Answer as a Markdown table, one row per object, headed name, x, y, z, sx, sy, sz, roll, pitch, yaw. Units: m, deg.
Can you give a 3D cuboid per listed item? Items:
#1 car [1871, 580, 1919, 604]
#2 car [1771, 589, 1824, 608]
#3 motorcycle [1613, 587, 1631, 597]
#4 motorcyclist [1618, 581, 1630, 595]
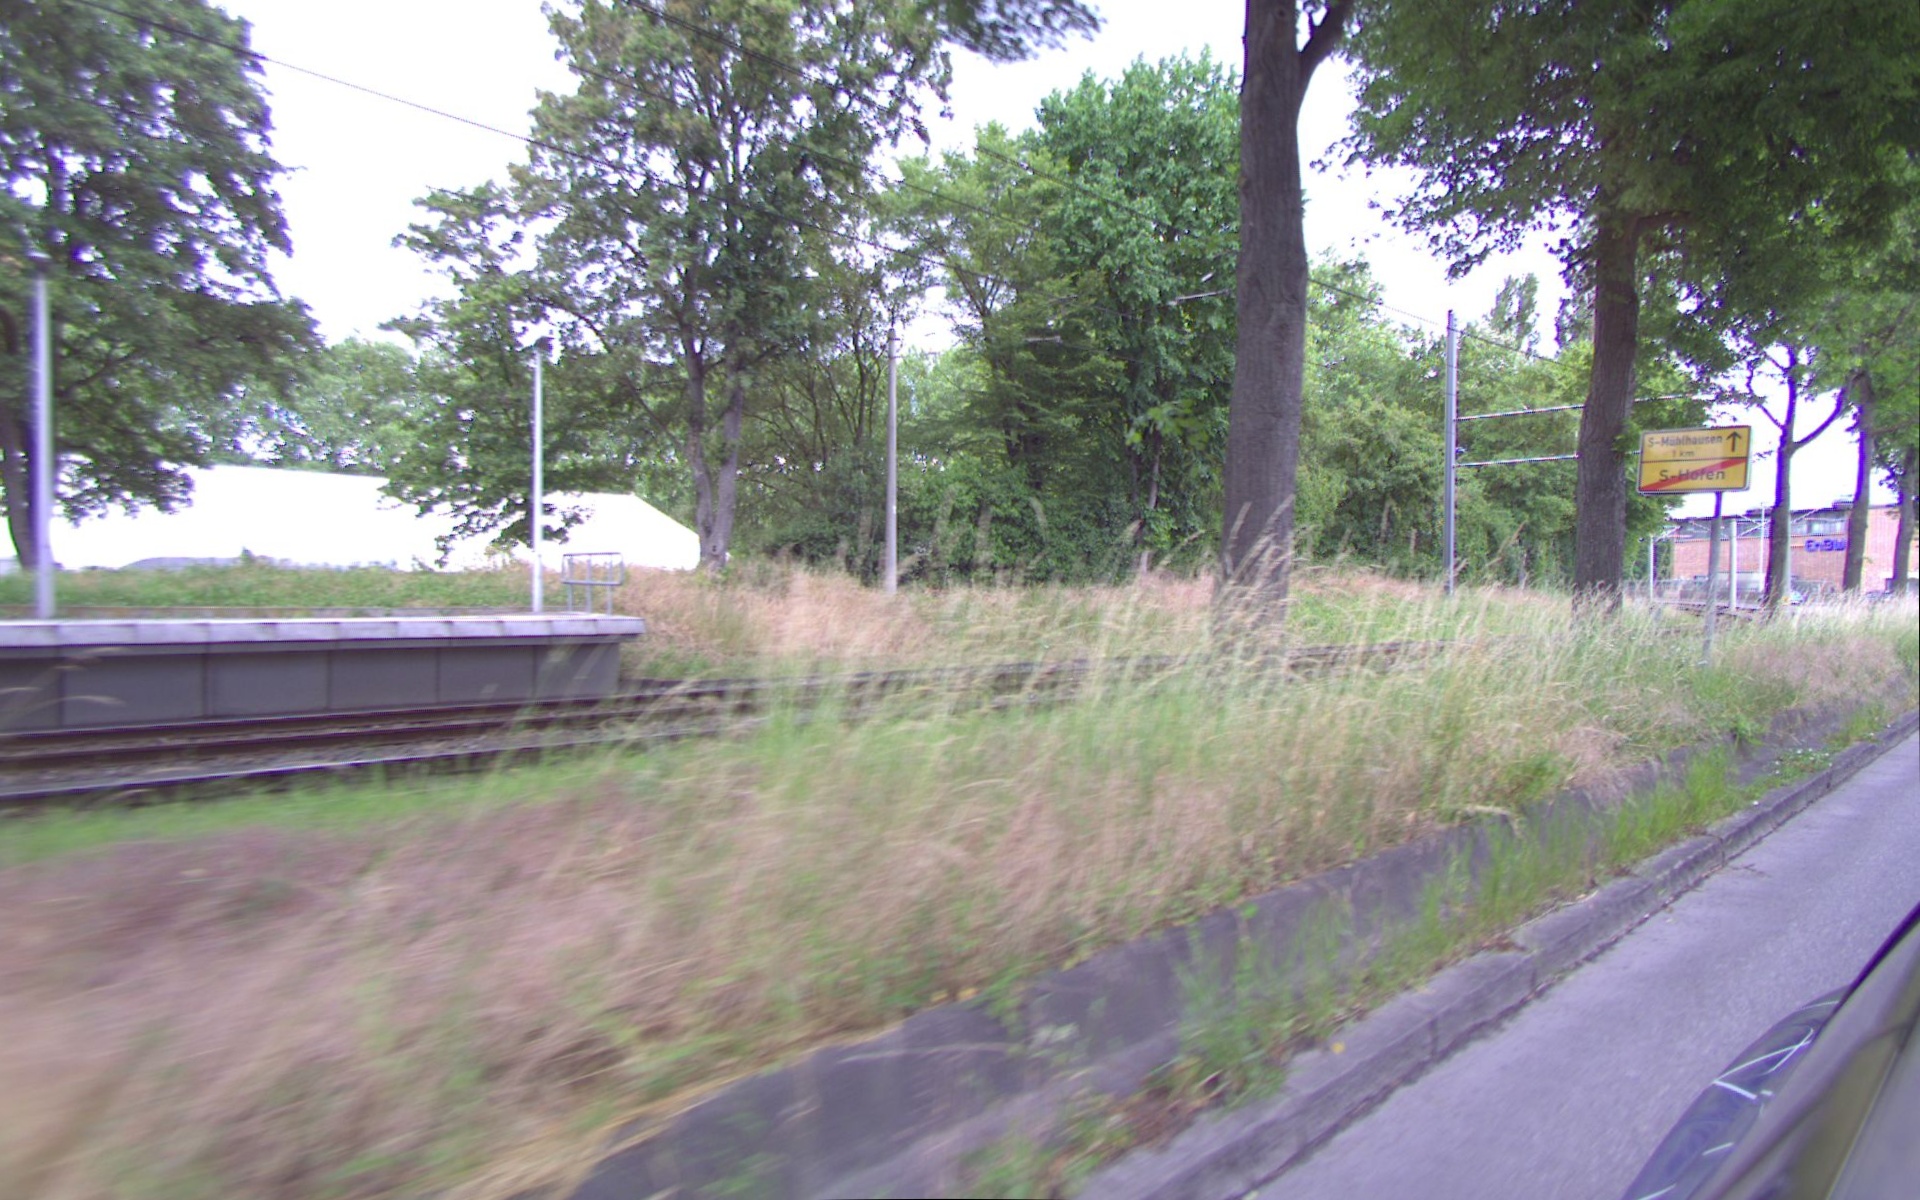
| name | x | y | z | sx | sy | sz | roll | pitch | yaw |
| --- | --- | --- | --- | --- | --- | --- | --- | --- | --- |
| car | 68.264 | -0.580 | 73.241 | 1.700 | 1.627 | 3.996 | 0 | 0 | 14 |
| car | 69.985 | -0.083 | 84.613 | 1.558 | 1.505 | 3.690 | -1 | -1 | 5 |
| motorcycle | 70.146 | -0.888 | 107.212 | 0.671 | 1.074 | 1.721 | 0 | 0 | -4 |
| motorcyclist | 70.145 | -1.267 | 106.942 | 0.609 | 1.373 | 0.841 | 0 | 0 | -4 |
